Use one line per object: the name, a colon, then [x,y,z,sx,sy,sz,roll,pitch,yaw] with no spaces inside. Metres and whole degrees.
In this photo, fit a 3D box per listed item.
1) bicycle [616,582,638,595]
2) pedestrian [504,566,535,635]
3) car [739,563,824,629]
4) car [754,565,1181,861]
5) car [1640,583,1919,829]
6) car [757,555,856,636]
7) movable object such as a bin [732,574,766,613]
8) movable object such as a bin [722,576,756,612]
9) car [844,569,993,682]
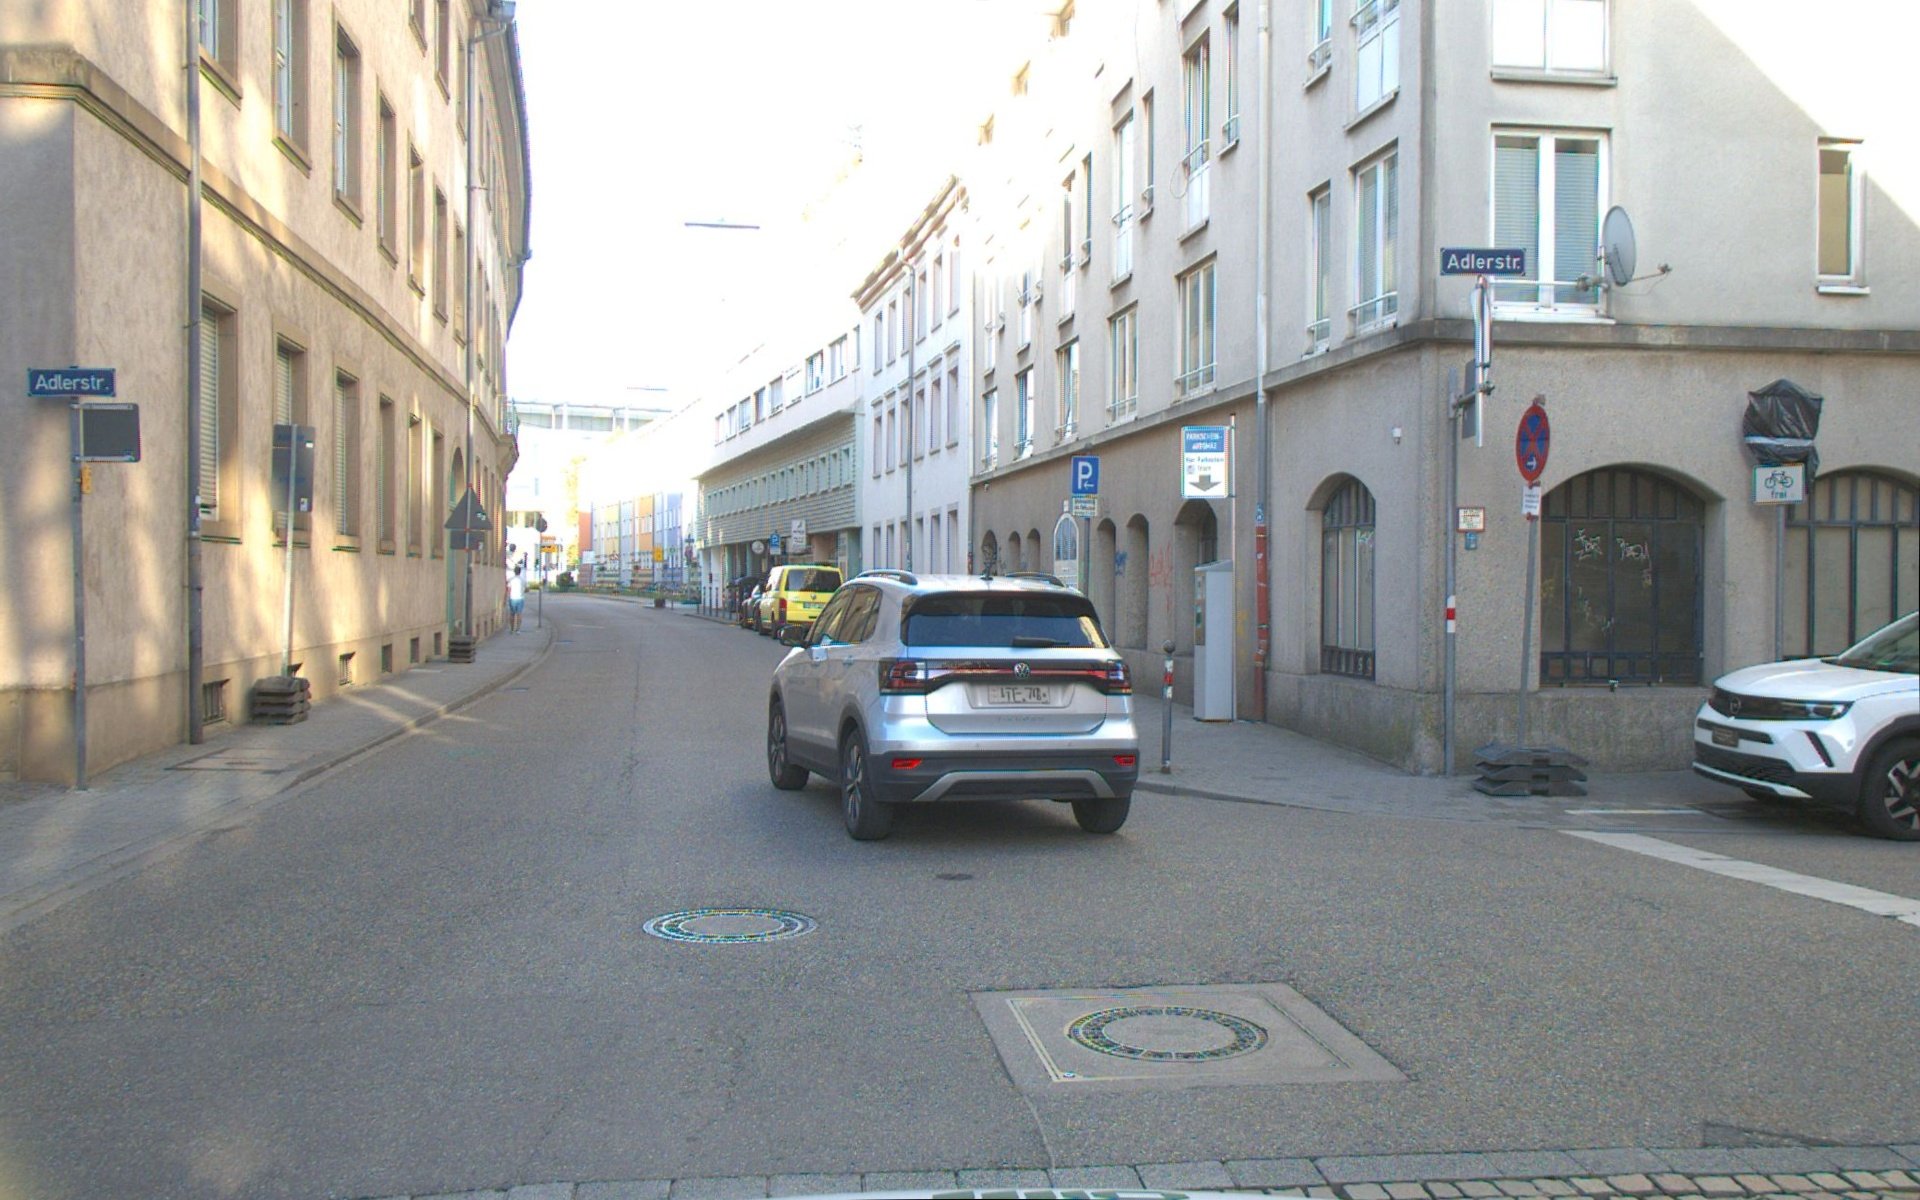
bicycle: [-26.574,-0.928,131.958,1.751,1.018,0.544,0,0,-16]
pedestrian: [-11.344,0.016,42.622,0.753,1.754,0.684,0,0,-16]
car: [-5.428,-0.146,49.938,2.018,1.905,4.085,0,1,-14]
car: [-0.159,0.575,11.098,1.807,1.589,3.982,-1,1,-17]
car: [7.317,0.705,11.814,4.132,1.580,1.900,1,1,-4]
car: [-4.157,-0.140,44.204,2.018,2.049,4.160,0,1,-14]
movable object such as a bin: [-8.715,-0.268,68.251,1.114,1.585,1.731,0,1,-18]
movable object such as a bin: [-9.349,-0.269,69.927,1.114,1.505,1.731,0,1,-18]
car: [-0.790,0.374,27.876,1.932,1.721,4.092,1,1,-9]
